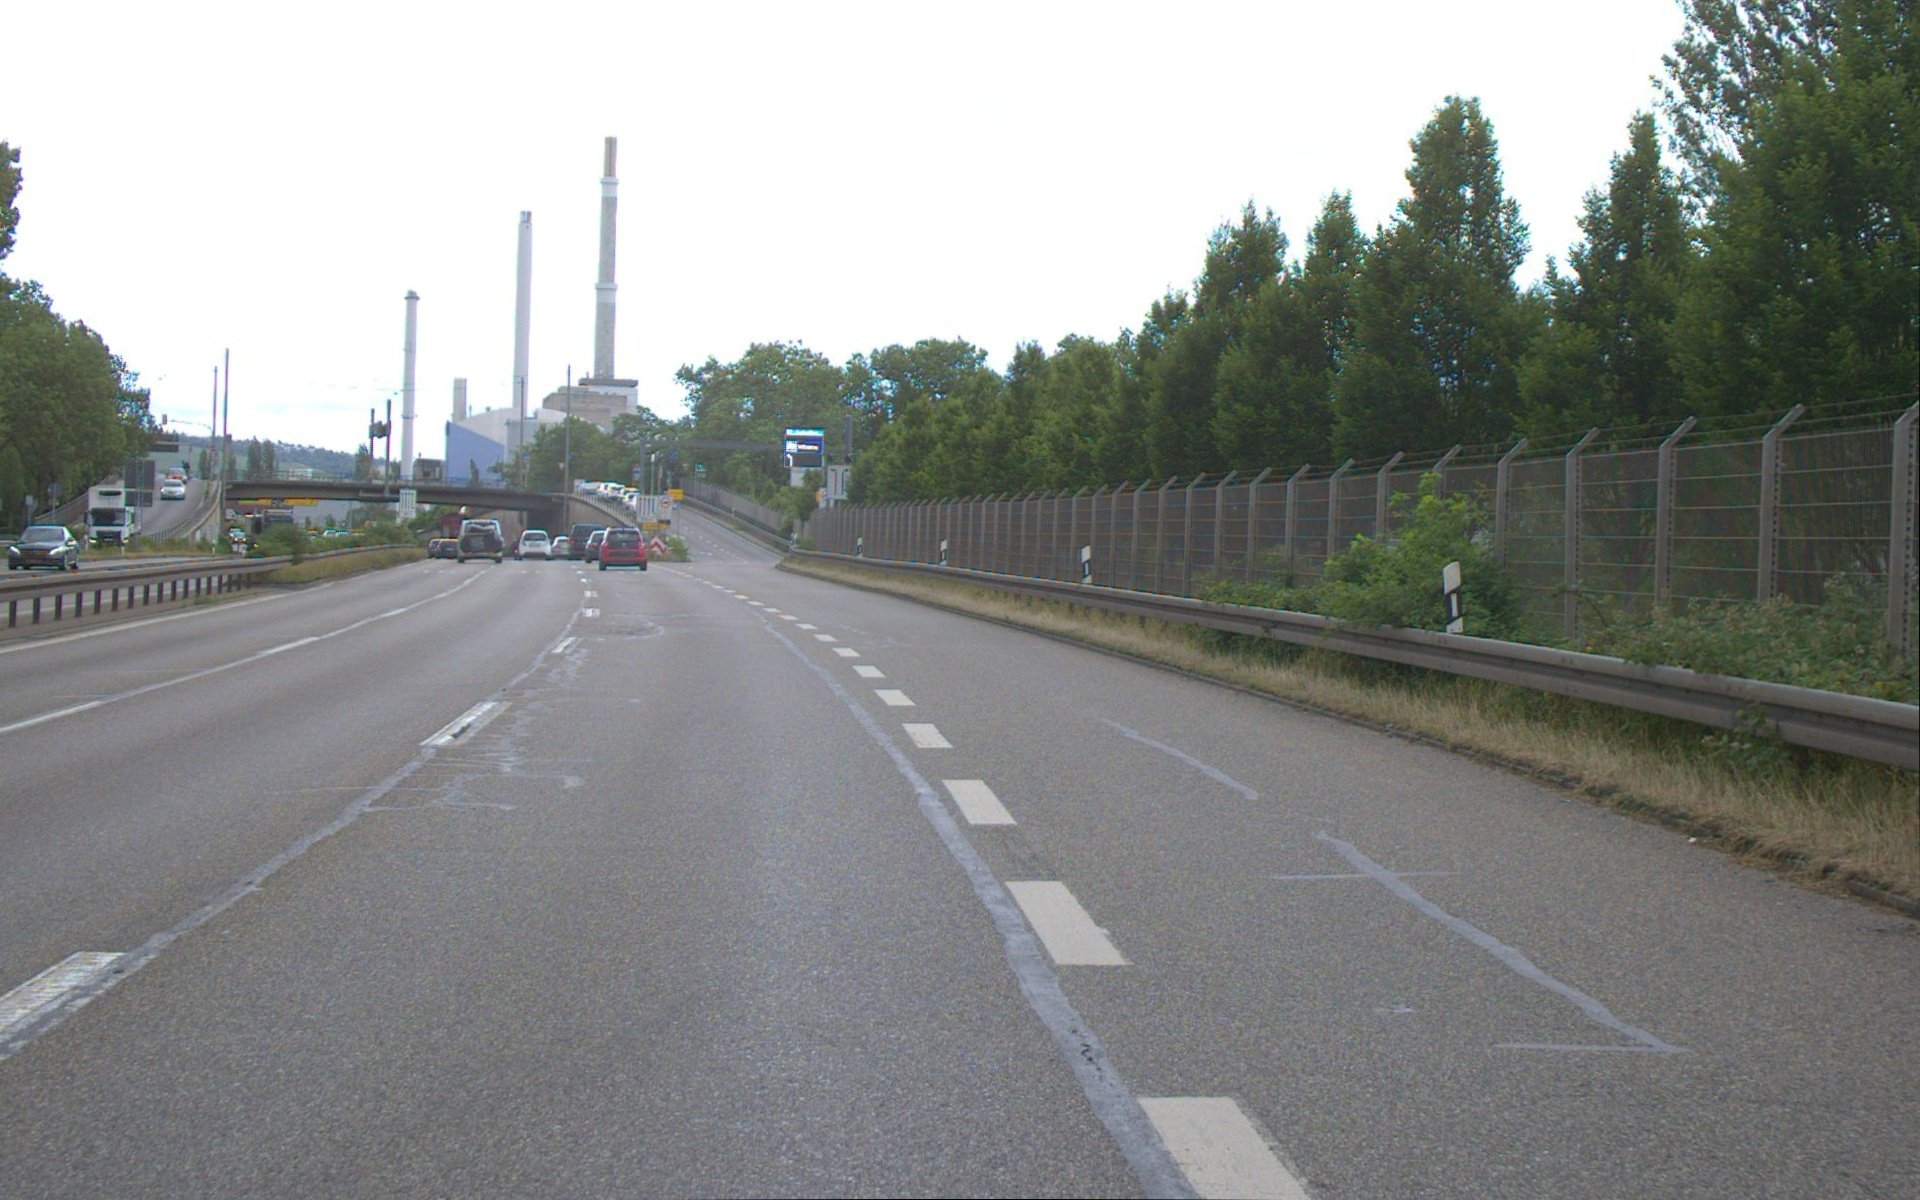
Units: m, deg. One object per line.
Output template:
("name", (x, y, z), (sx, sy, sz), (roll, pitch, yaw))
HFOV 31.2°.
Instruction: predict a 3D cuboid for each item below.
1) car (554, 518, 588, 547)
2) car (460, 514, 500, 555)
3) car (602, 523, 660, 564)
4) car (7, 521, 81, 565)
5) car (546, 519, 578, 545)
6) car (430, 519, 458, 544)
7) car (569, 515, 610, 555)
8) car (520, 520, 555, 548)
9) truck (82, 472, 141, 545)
("car", (-21.299, -3.683, 188.223), (1.697, 1.550, 4.399), (0, 1, -9))
("car", (-20.880, -2.869, 149.638), (1.697, 1.736, 4.001), (0, 1, -8))
("car", (-11.914, -2.070, 124.318), (1.974, 1.418, 4.902), (1, 1, -7))
("car", (-29.806, -1.873, 111.973), (1.697, 1.408, 4.639), (0, 1, -7))
("car", (-24.675, -4.212, 213.077), (1.697, 1.550, 4.399), (0, 1, -11))
("car", (-35.373, -4.695, 235.481), (1.697, 1.736, 4.395), (0, 1, -11))
("car", (-16.231, -2.857, 150.456), (1.697, 1.736, 4.394), (0, 1, -7))
("car", (-21.429, -3.376, 174.426), (1.697, 1.385, 4.399), (0, 1, -8))
("truck", (-51.825, -5.629, 210.270), (2.887, 4.151, 14.665), (2, 1, -12))
